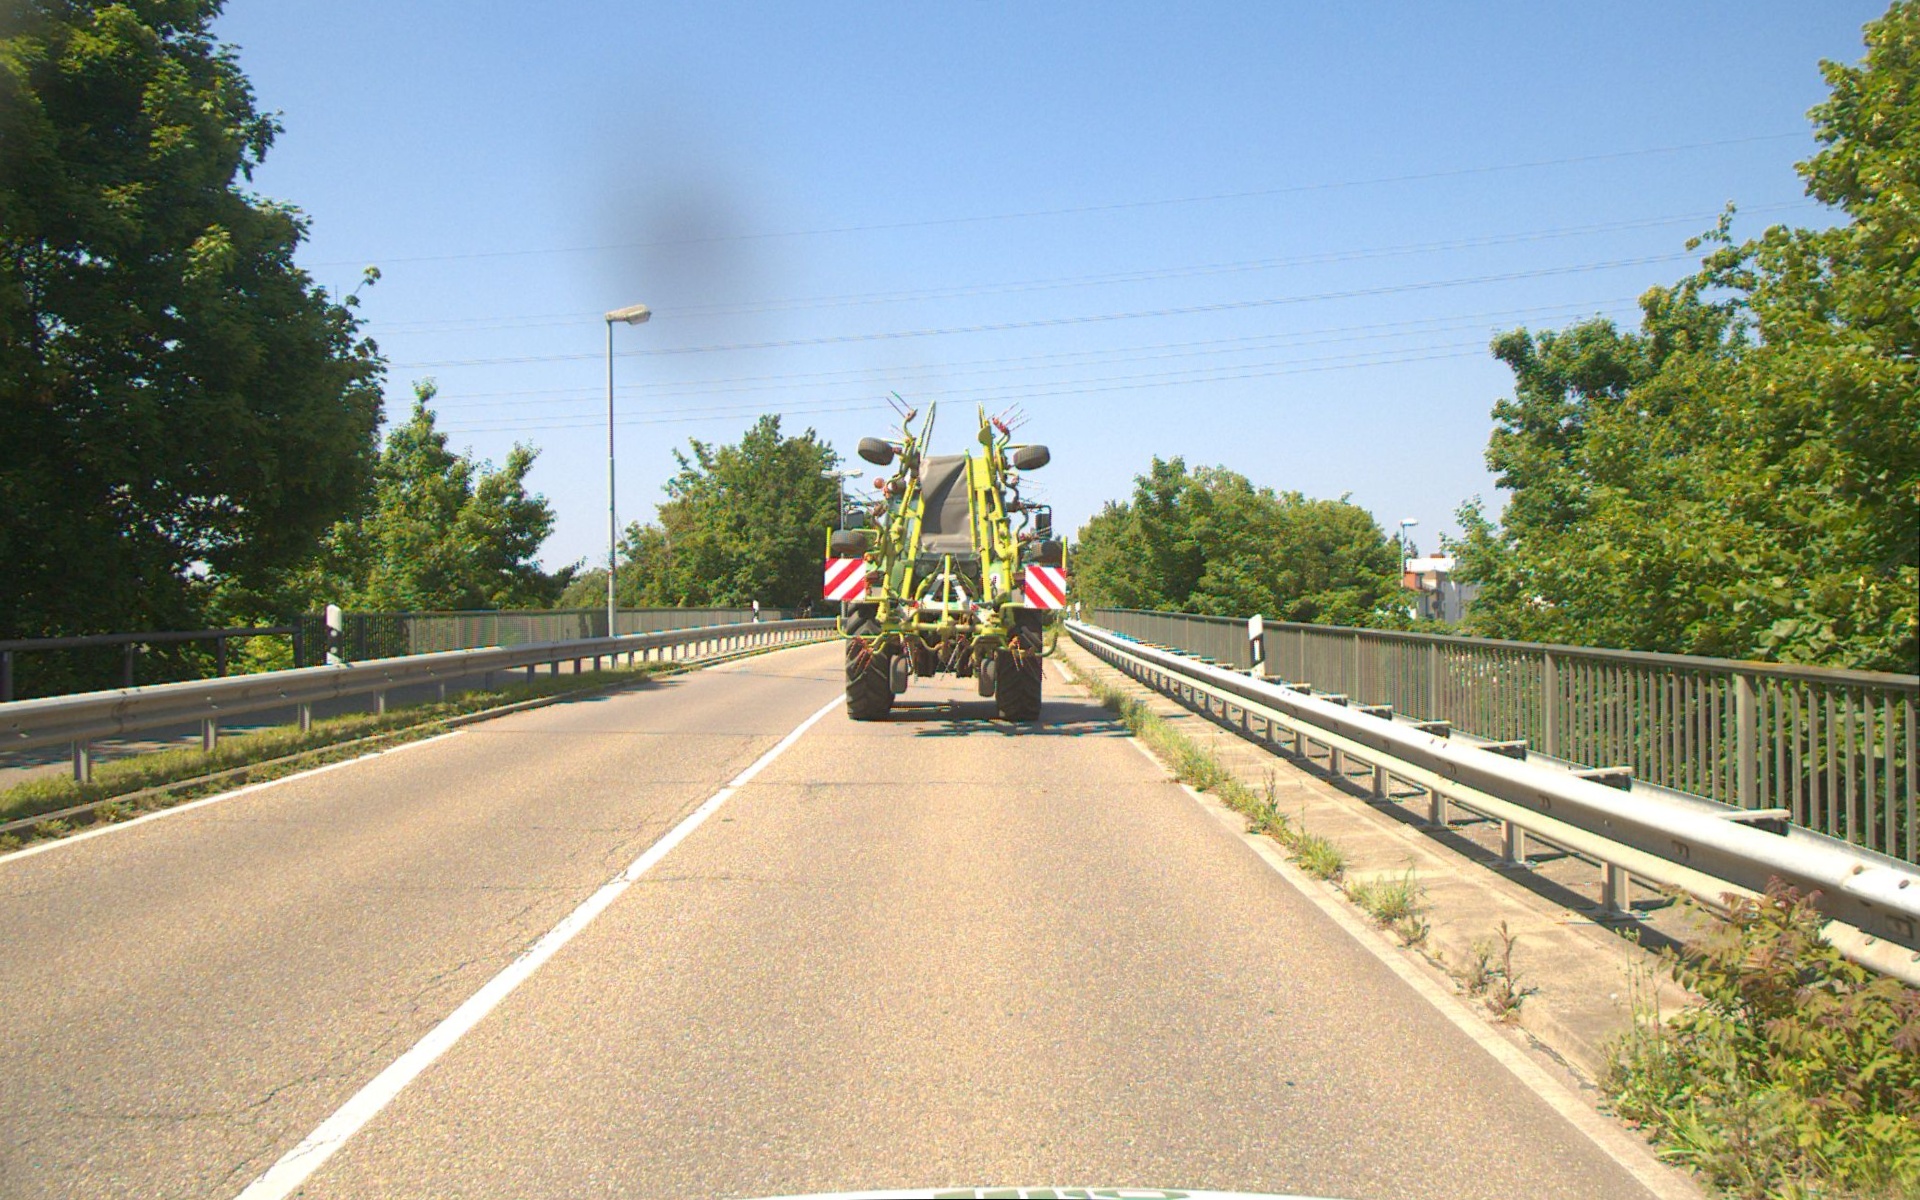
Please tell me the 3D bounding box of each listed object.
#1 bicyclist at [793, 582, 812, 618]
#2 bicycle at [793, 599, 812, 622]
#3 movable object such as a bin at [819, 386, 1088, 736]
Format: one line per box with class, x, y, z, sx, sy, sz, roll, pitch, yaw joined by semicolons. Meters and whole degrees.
bicyclist;-7.396;-0.015;77.560;0.749;1.662;0.895;-1;0;1
bicycle;-7.379;0.491;77.416;0.663;1.019;2.119;-1;0;0
movable object such as a bin;-0.129;-0.430;19.441;2.699;3.504;5.668;0;1;-1
